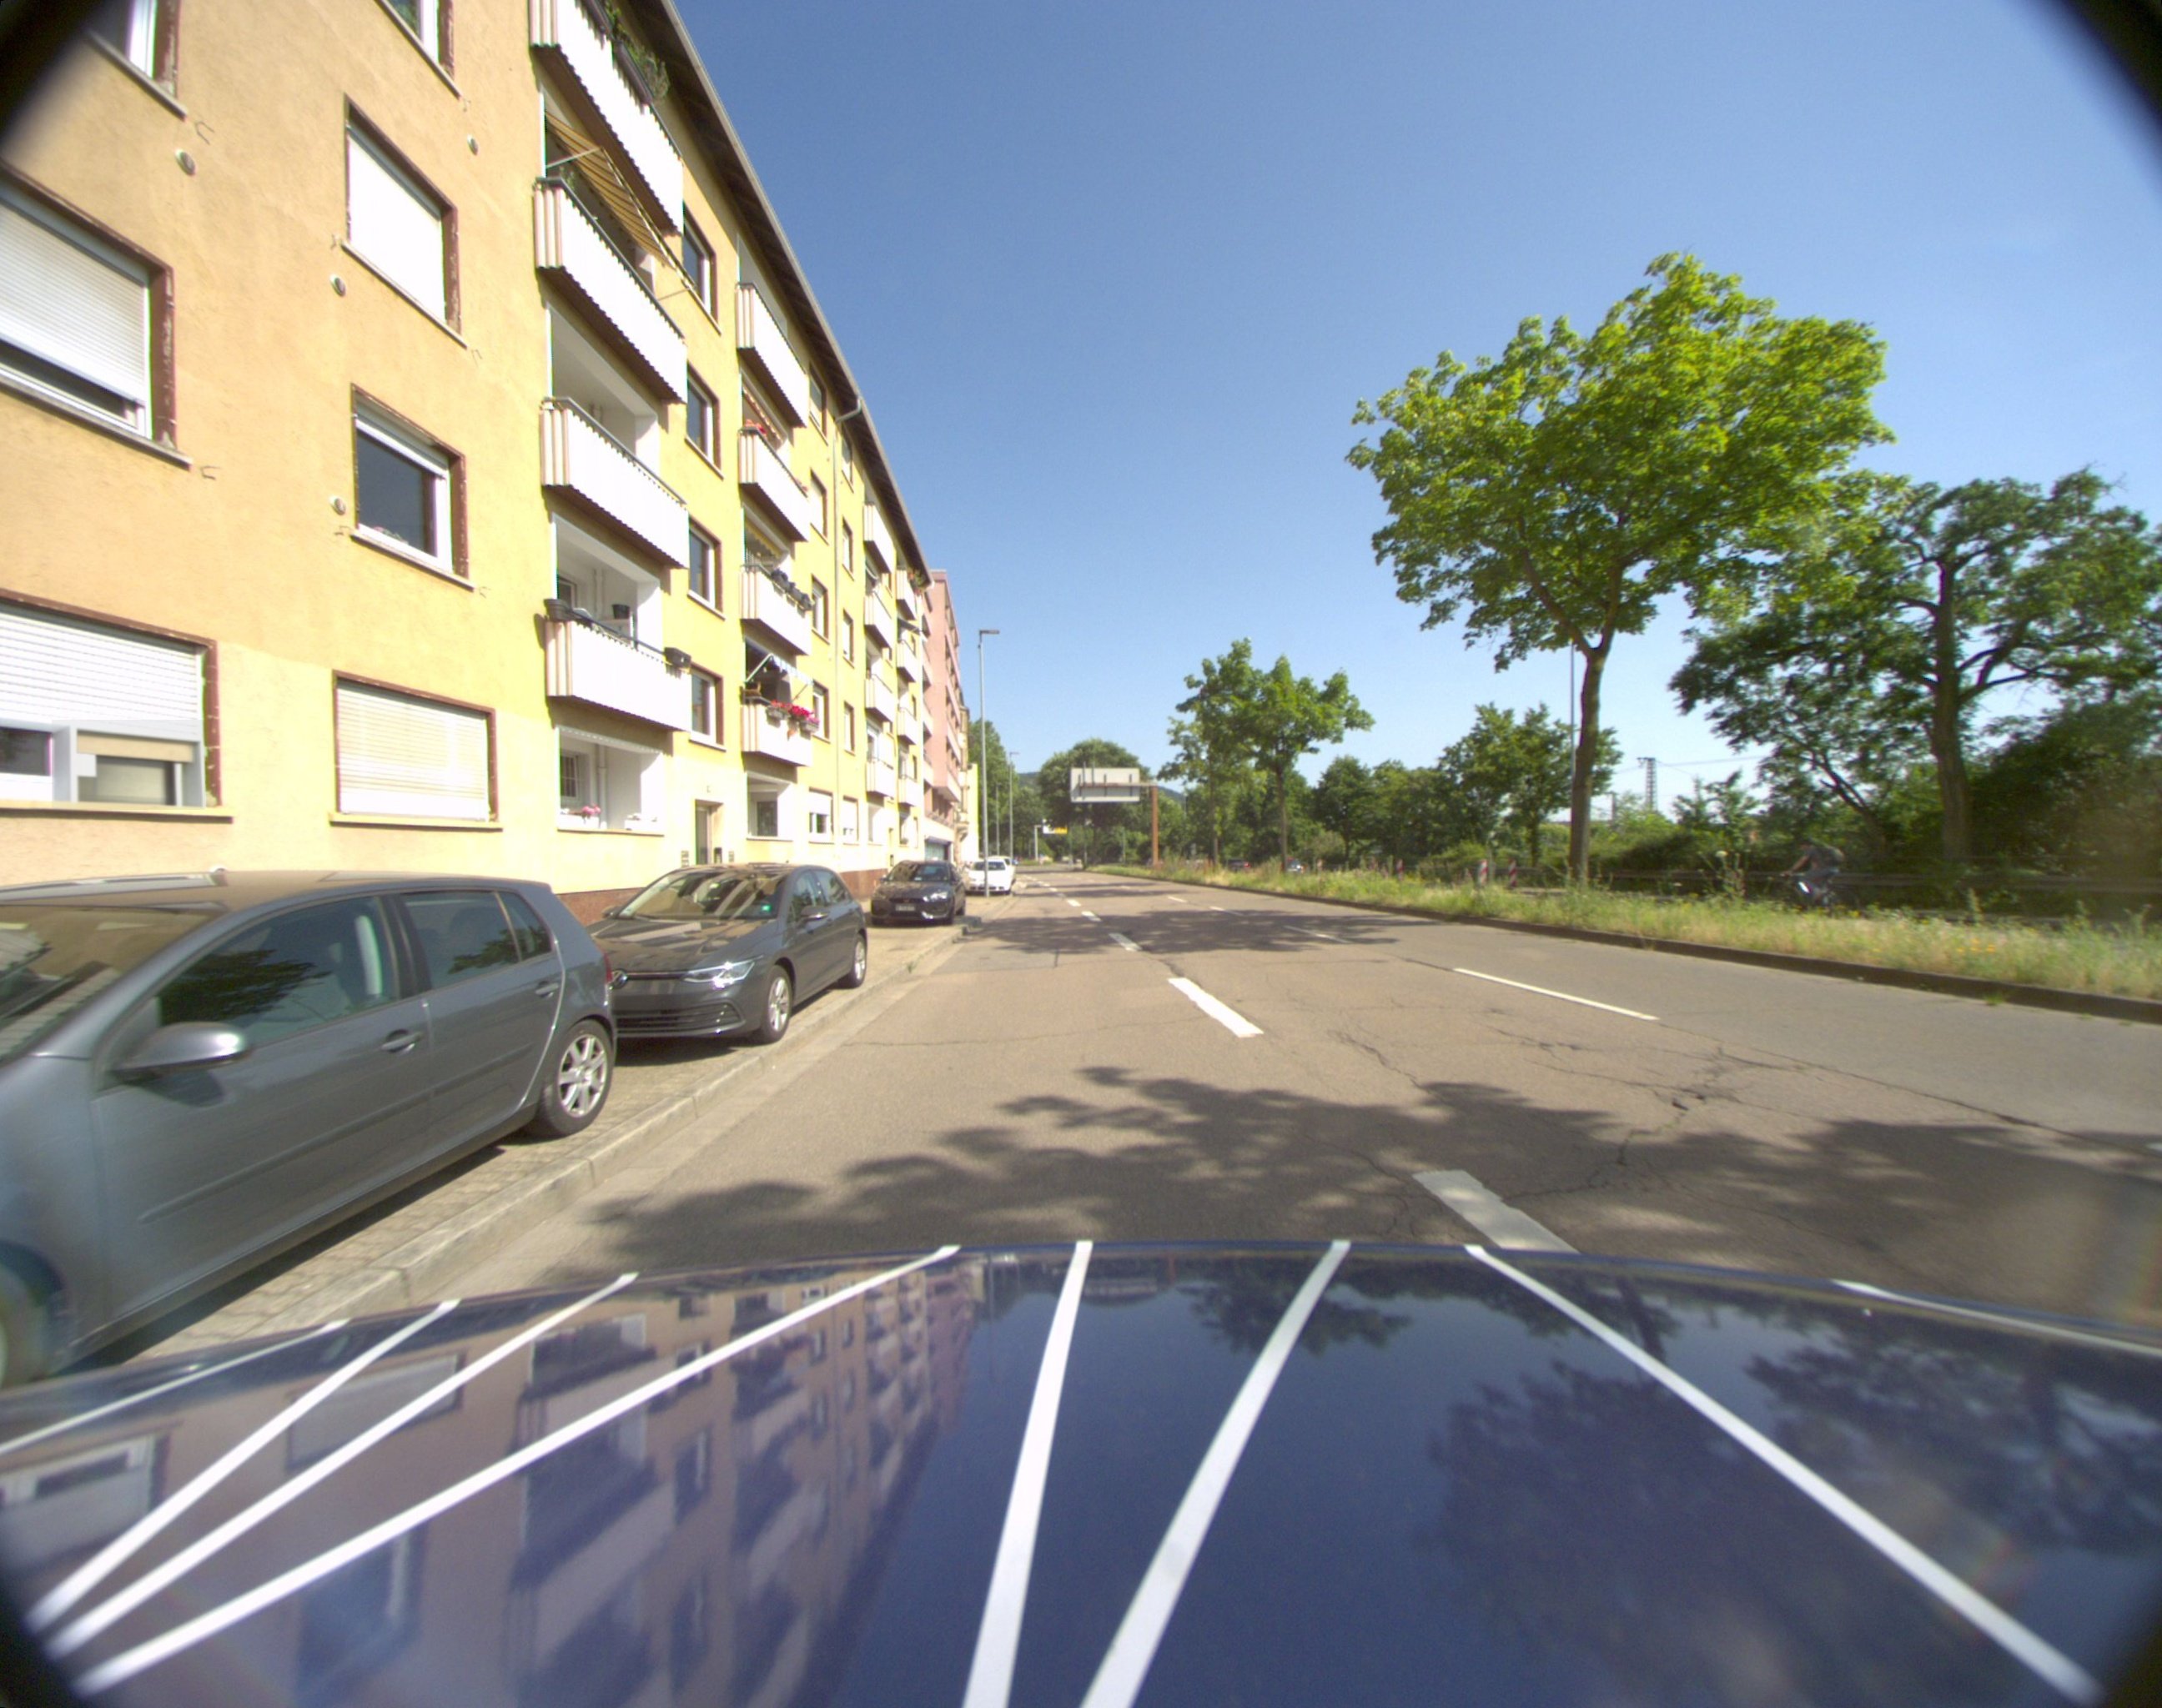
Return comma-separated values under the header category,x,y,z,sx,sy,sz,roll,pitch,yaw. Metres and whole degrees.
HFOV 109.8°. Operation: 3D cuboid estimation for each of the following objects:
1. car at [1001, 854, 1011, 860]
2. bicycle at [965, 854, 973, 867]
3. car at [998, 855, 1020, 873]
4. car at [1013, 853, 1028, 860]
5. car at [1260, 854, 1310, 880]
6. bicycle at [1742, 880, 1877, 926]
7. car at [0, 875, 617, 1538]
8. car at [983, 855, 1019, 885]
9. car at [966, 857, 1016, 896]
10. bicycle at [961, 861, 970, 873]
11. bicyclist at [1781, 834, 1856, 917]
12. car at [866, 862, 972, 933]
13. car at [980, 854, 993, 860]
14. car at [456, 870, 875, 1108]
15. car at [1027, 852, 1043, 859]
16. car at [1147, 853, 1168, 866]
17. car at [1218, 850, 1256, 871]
category,x,y,z,sx,sy,sz,roll,pitch,yaw
car,-18.127,0.712,183.461,1.648,1.492,3.643,1,0,-21
bicycle,-10.605,0.607,72.027,0.657,1.139,1.625,1,0,-10
car,-6.144,0.800,64.664,1.790,1.473,3.998,0,0,-5
car,-13.709,0.560,172.180,2.002,1.403,4.606,0,0,-22
car,12.308,0.778,46.081,1.768,1.465,4.083,-1,0,-3
bicycle,16.734,1.101,17.560,0.695,0.900,2.340,0,0,-7
car,-3.483,0.891,2.394,1.708,1.505,4.090,-1,0,-4
car,-4.415,0.860,42.363,1.741,1.532,4.352,0,0,-3
car,-3.678,0.893,31.606,1.761,1.497,4.126,0,0,-3
bicycle,-9.650,1.111,63.619,0.652,0.964,1.863,0,0,-5
bicyclist,16.751,0.471,17.285,0.698,1.821,1.016,-1,1,-8
car,-3.750,0.940,18.346,1.805,1.430,4.588,-1,0,-3
car,-22.730,0.653,182.557,1.805,1.511,3.955,0,1,-26
car,-3.329,0.936,7.179,1.715,1.453,4.254,-1,0,-2
car,-9.751,0.266,161.292,2.002,1.519,4.688,1,0,-22
car,9.037,0.645,89.869,1.650,1.408,3.968,-1,0,-6
car,12.187,0.496,59.770,1.803,1.521,3.997,-1,1,-6
